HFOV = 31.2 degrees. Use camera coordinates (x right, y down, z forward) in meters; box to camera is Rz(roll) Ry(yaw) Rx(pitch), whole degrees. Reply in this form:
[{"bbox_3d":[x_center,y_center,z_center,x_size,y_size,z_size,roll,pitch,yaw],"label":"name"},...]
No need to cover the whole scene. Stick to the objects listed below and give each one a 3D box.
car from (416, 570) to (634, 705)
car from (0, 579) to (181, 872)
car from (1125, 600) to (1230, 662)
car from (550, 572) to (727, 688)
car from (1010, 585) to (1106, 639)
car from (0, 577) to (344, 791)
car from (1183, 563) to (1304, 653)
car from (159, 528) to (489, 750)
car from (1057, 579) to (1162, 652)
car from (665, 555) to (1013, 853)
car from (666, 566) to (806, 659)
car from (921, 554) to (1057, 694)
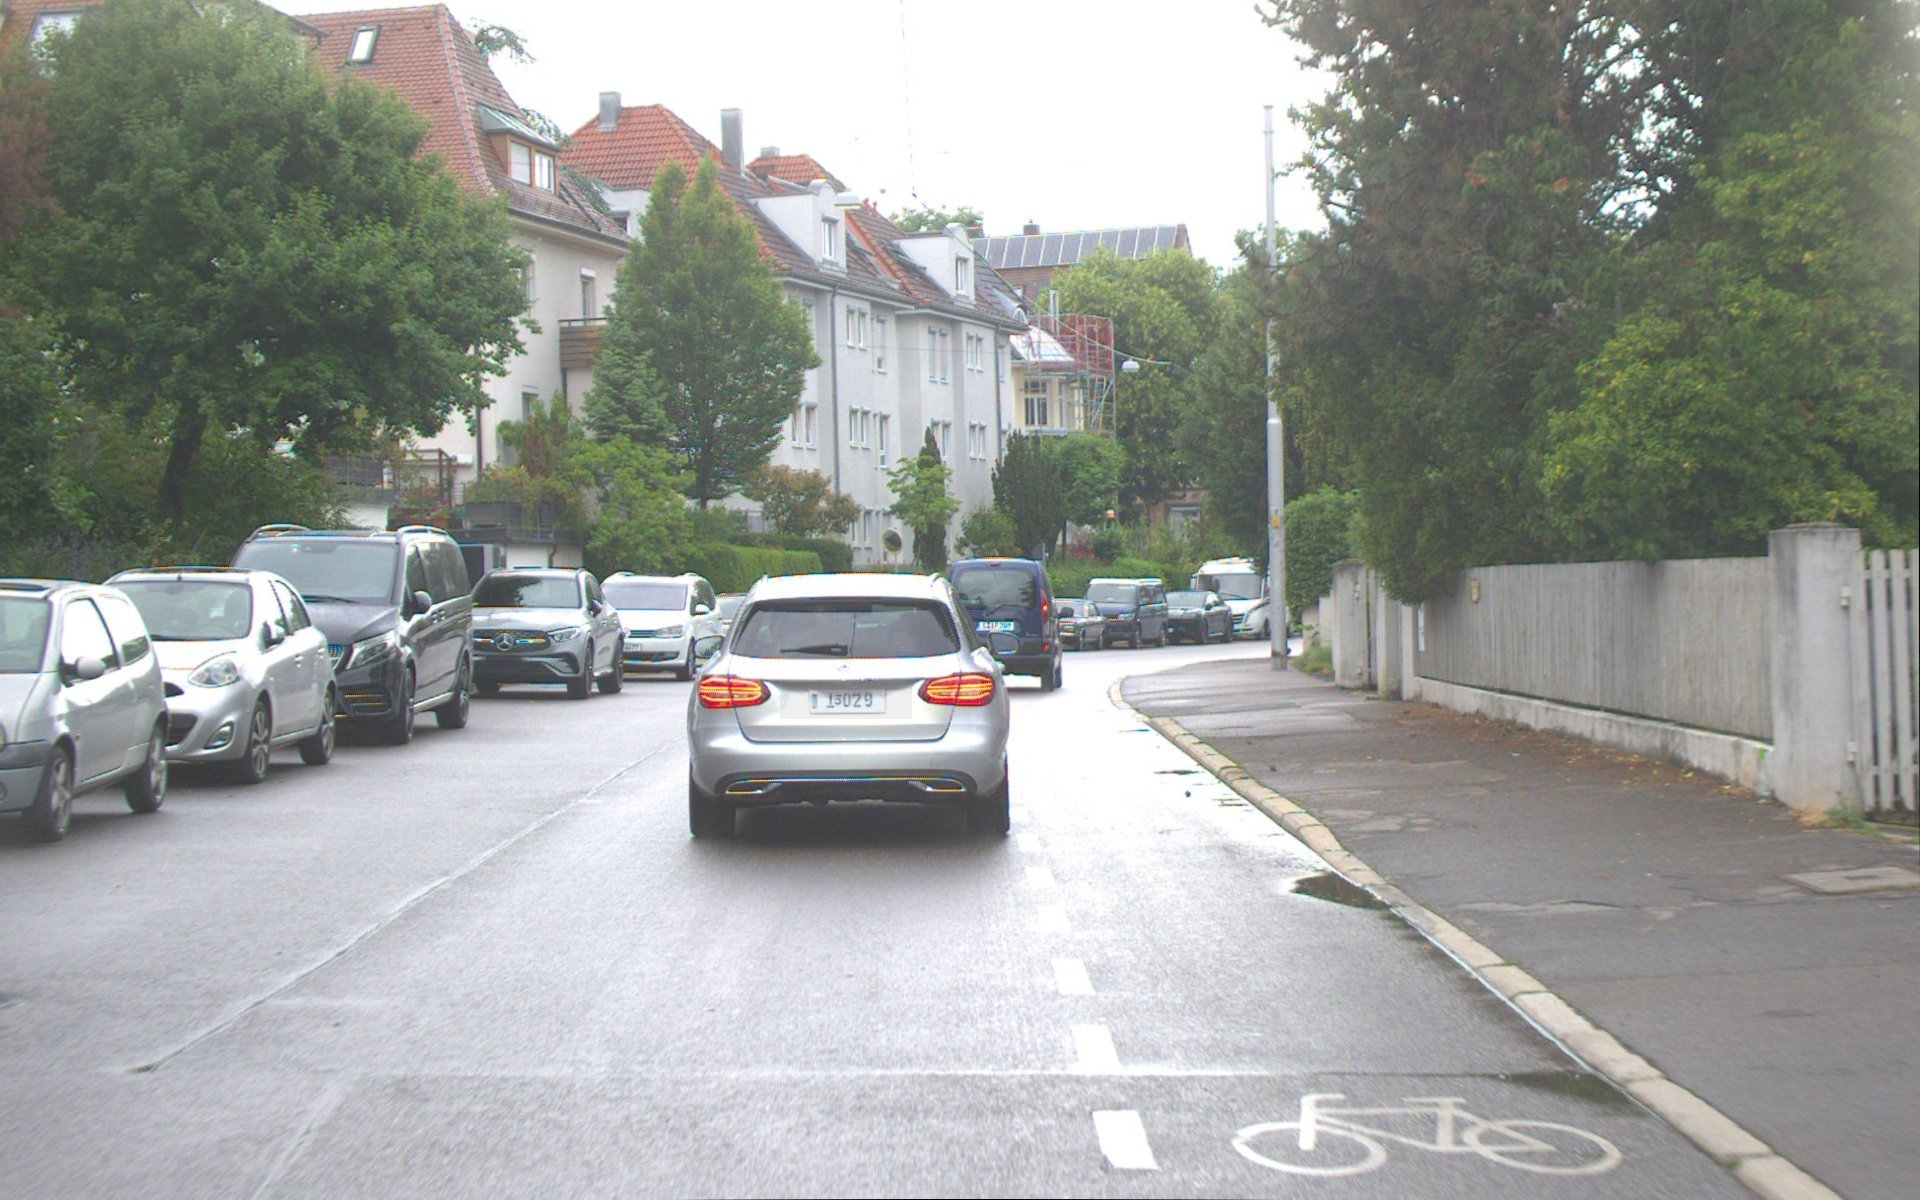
[{"bbox_3d":[-5.557,0.439,44.511,1.994,1.575,4.761,2,1,2],"label":"car"},{"bbox_3d":[-5.771,0.663,20.136,1.646,1.442,3.628,0,2,-1],"label":"car"},{"bbox_3d":[6.777,0.947,106.613,1.995,1.682,4.672,0,2,20],"label":"car"},{"bbox_3d":[-5.029,0.432,54.375,1.994,1.696,4.738,2,1,4],"label":"car"},{"bbox_3d":[2.708,0.312,94.018,1.644,1.412,4.610,0,1,14],"label":"car"},{"bbox_3d":[-5.740,0.559,25.349,1.694,1.442,3.814,-1,0,0],"label":"car"},{"bbox_3d":[9.432,0.215,113.880,2.393,2.762,6.525,0,2,20],"label":"car"},{"bbox_3d":[-5.771,0.301,31.870,1.993,1.872,5.356,0,1,1],"label":"car"},{"bbox_3d":[4.364,0.436,99.710,1.831,2.049,5.005,0,0,17],"label":"car"},{"bbox_3d":[-0.642,0.520,20.026,1.816,1.551,4.000,0,1,0],"label":"car"},{"bbox_3d":[-4.051,0.209,62.792,1.792,1.575,4.137,2,1,7],"label":"car"},{"bbox_3d":[0.416,0.331,48.755,1.843,1.897,4.000,0,0,1],"label":"car"}]
